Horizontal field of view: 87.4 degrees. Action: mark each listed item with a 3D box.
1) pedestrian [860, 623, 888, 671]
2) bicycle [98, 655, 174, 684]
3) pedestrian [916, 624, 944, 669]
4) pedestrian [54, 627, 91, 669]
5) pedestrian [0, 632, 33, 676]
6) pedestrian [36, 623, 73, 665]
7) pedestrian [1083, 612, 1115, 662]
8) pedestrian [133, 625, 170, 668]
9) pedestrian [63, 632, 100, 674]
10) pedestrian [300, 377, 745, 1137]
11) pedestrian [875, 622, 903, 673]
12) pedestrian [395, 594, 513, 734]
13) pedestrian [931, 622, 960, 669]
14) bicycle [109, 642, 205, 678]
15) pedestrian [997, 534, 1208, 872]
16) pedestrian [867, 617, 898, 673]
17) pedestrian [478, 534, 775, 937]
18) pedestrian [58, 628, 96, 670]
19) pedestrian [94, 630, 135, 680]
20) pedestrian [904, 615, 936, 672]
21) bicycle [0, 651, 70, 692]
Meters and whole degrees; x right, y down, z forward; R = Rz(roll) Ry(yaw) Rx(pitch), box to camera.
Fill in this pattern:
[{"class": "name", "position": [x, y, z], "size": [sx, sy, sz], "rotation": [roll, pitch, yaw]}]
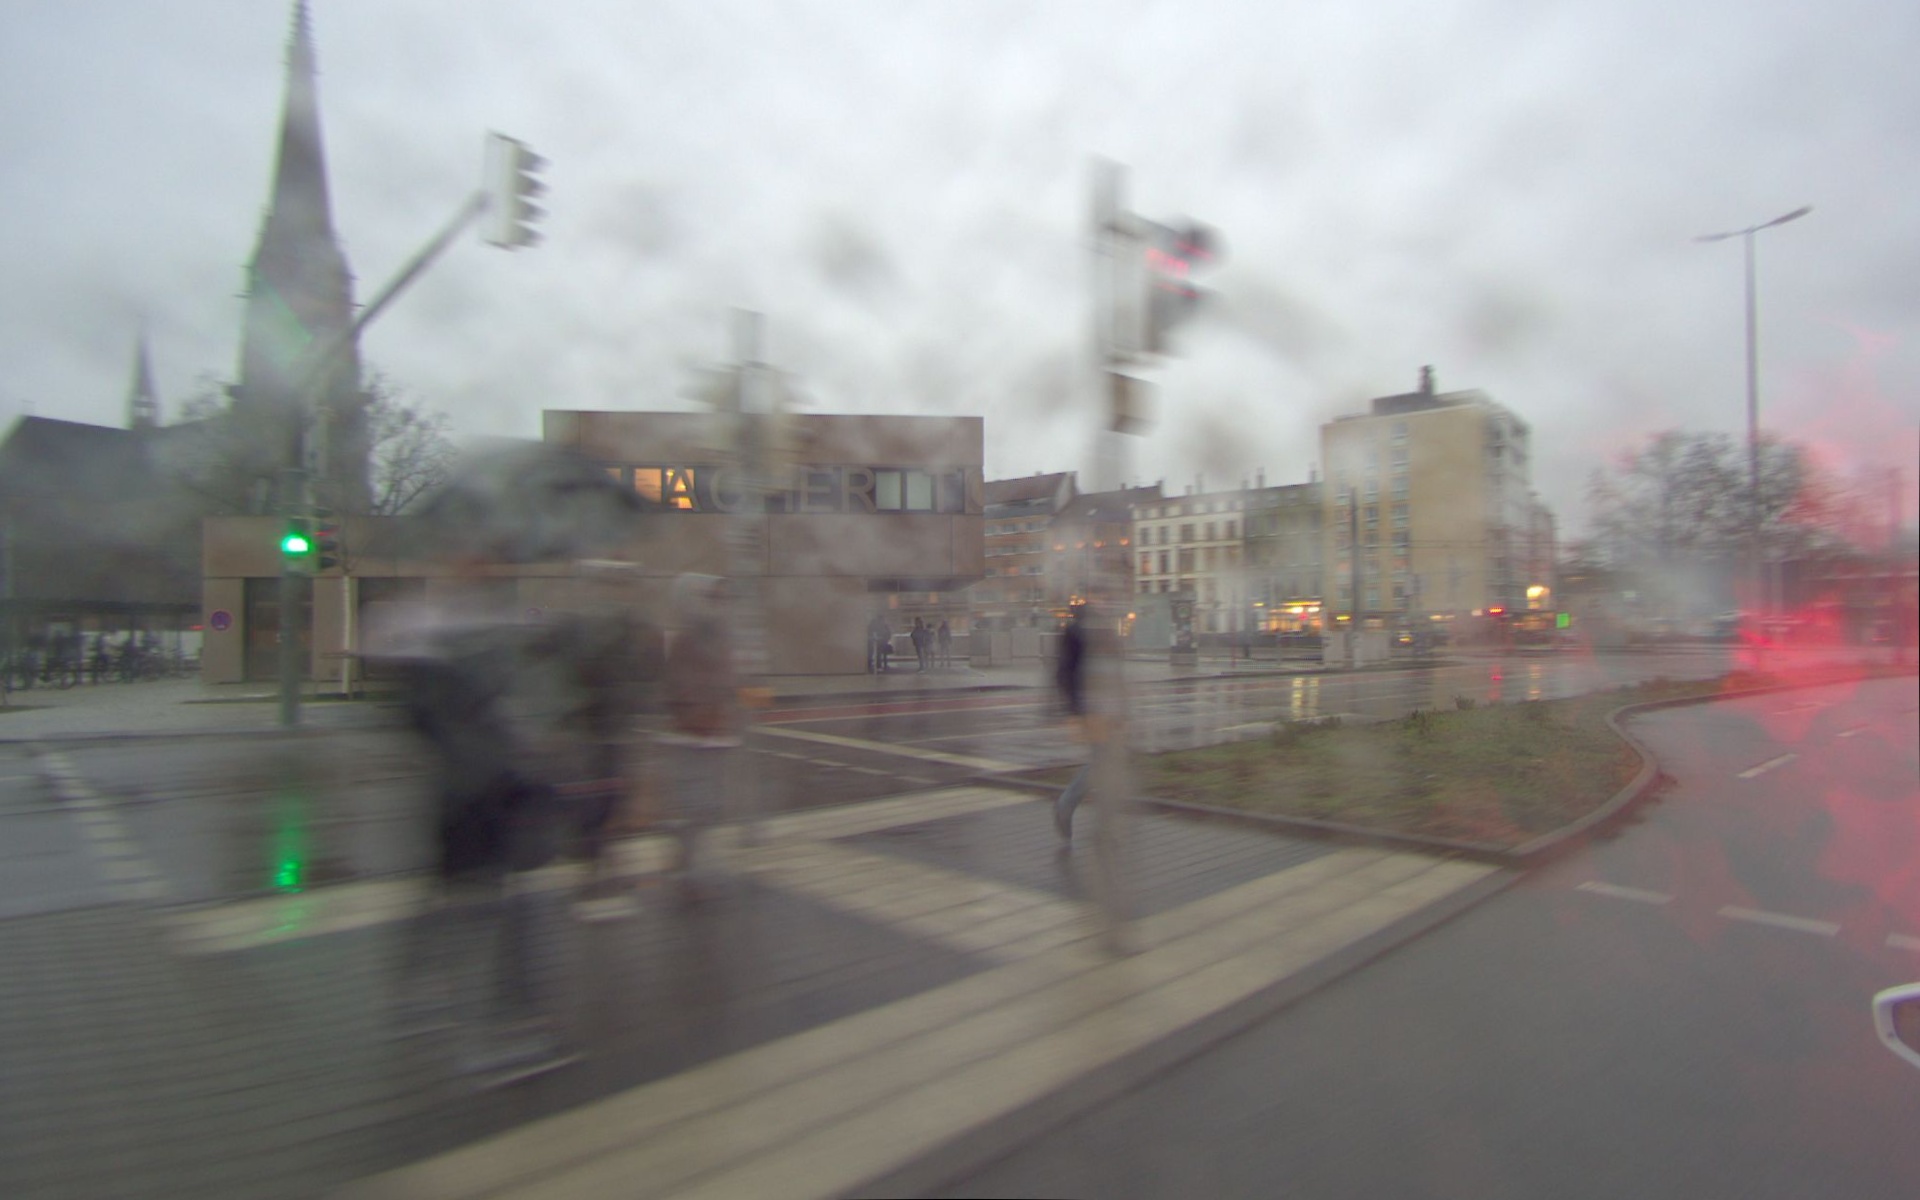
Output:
[{"class": "pedestrian", "position": [-3.153, 1.708, 36.670], "size": [0.737, 1.749, 0.735], "rotation": [1, -2, -36]}, {"class": "bicycle", "position": [-26.361, 2.212, 32.146], "size": [1.829, 0.883, 0.606], "rotation": [0, -3, -6]}, {"class": "pedestrian", "position": [-1.095, 1.704, 36.961], "size": [0.947, 1.624, 0.855], "rotation": [-1, -2, -7]}, {"class": "pedestrian", "position": [-40.782, 2.212, 46.152], "size": [0.833, 1.874, 1.034], "rotation": [-2, -3, 29]}, {"class": "pedestrian", "position": [-42.699, 2.429, 45.272], "size": [0.833, 1.875, 1.048], "rotation": [-2, 3, 28]}, {"class": "pedestrian", "position": [-41.729, 2.032, 46.279], "size": [0.833, 1.874, 1.034], "rotation": [-2, -3, 29]}, {"class": "pedestrian", "position": [5.533, 1.486, 39.977], "size": [1.101, 1.944, 1.063], "rotation": [-1, -2, 0]}, {"class": "pedestrian", "position": [-36.931, 2.119, 45.876], "size": [0.833, 1.875, 1.033], "rotation": [-2, 0, 29]}, {"class": "pedestrian", "position": [-40.017, 2.423, 45.738], "size": [0.788, 1.874, 1.034], "rotation": [-2, -3, 29]}, {"class": "pedestrian", "position": [-1.556, 0.434, 3.537], "size": [1.028, 2.077, 1.199], "rotation": [-2, 0, -44]}, {"class": "pedestrian", "position": [-2.517, 1.671, 35.516], "size": [0.734, 1.749, 0.737], "rotation": [0, -2, -28]}, {"class": "pedestrian", "position": [-7.290, 0.875, 14.469], "size": [1.226, 1.882, 1.022], "rotation": [-2, 0, -44]}, {"class": "pedestrian", "position": [-0.562, 1.736, 38.472], "size": [0.788, 1.774, 0.760], "rotation": [-2, -2, 37]}, {"class": "bicycle", "position": [-27.948, 2.097, 34.974], "size": [2.697, 1.119, 0.647], "rotation": [-2, 0, -3]}, {"class": "pedestrian", "position": [0.916, 0.621, 6.638], "size": [1.091, 2.032, 0.846], "rotation": [-2, 0, -14]}, {"class": "pedestrian", "position": [-2.469, 1.411, 31.893], "size": [0.734, 1.749, 0.737], "rotation": [0, -2, -28]}, {"class": "pedestrian", "position": [-1.719, 0.644, 5.341], "size": [1.015, 1.882, 1.071], "rotation": [-2, 0, 17]}, {"class": "pedestrian", "position": [-40.053, 2.215, 45.575], "size": [0.833, 1.875, 1.033], "rotation": [-2, 0, 29]}, {"class": "pedestrian", "position": [-30.341, 1.965, 36.058], "size": [0.833, 1.704, 0.814], "rotation": [1, 3, 29]}, {"class": "pedestrian", "position": [-1.268, 1.387, 31.967], "size": [0.651, 1.791, 0.830], "rotation": [-2, -2, 37]}, {"class": "bicycle", "position": [-27.301, 2.064, 28.834], "size": [2.701, 1.119, 0.607], "rotation": [-1, 0, -9]}]
